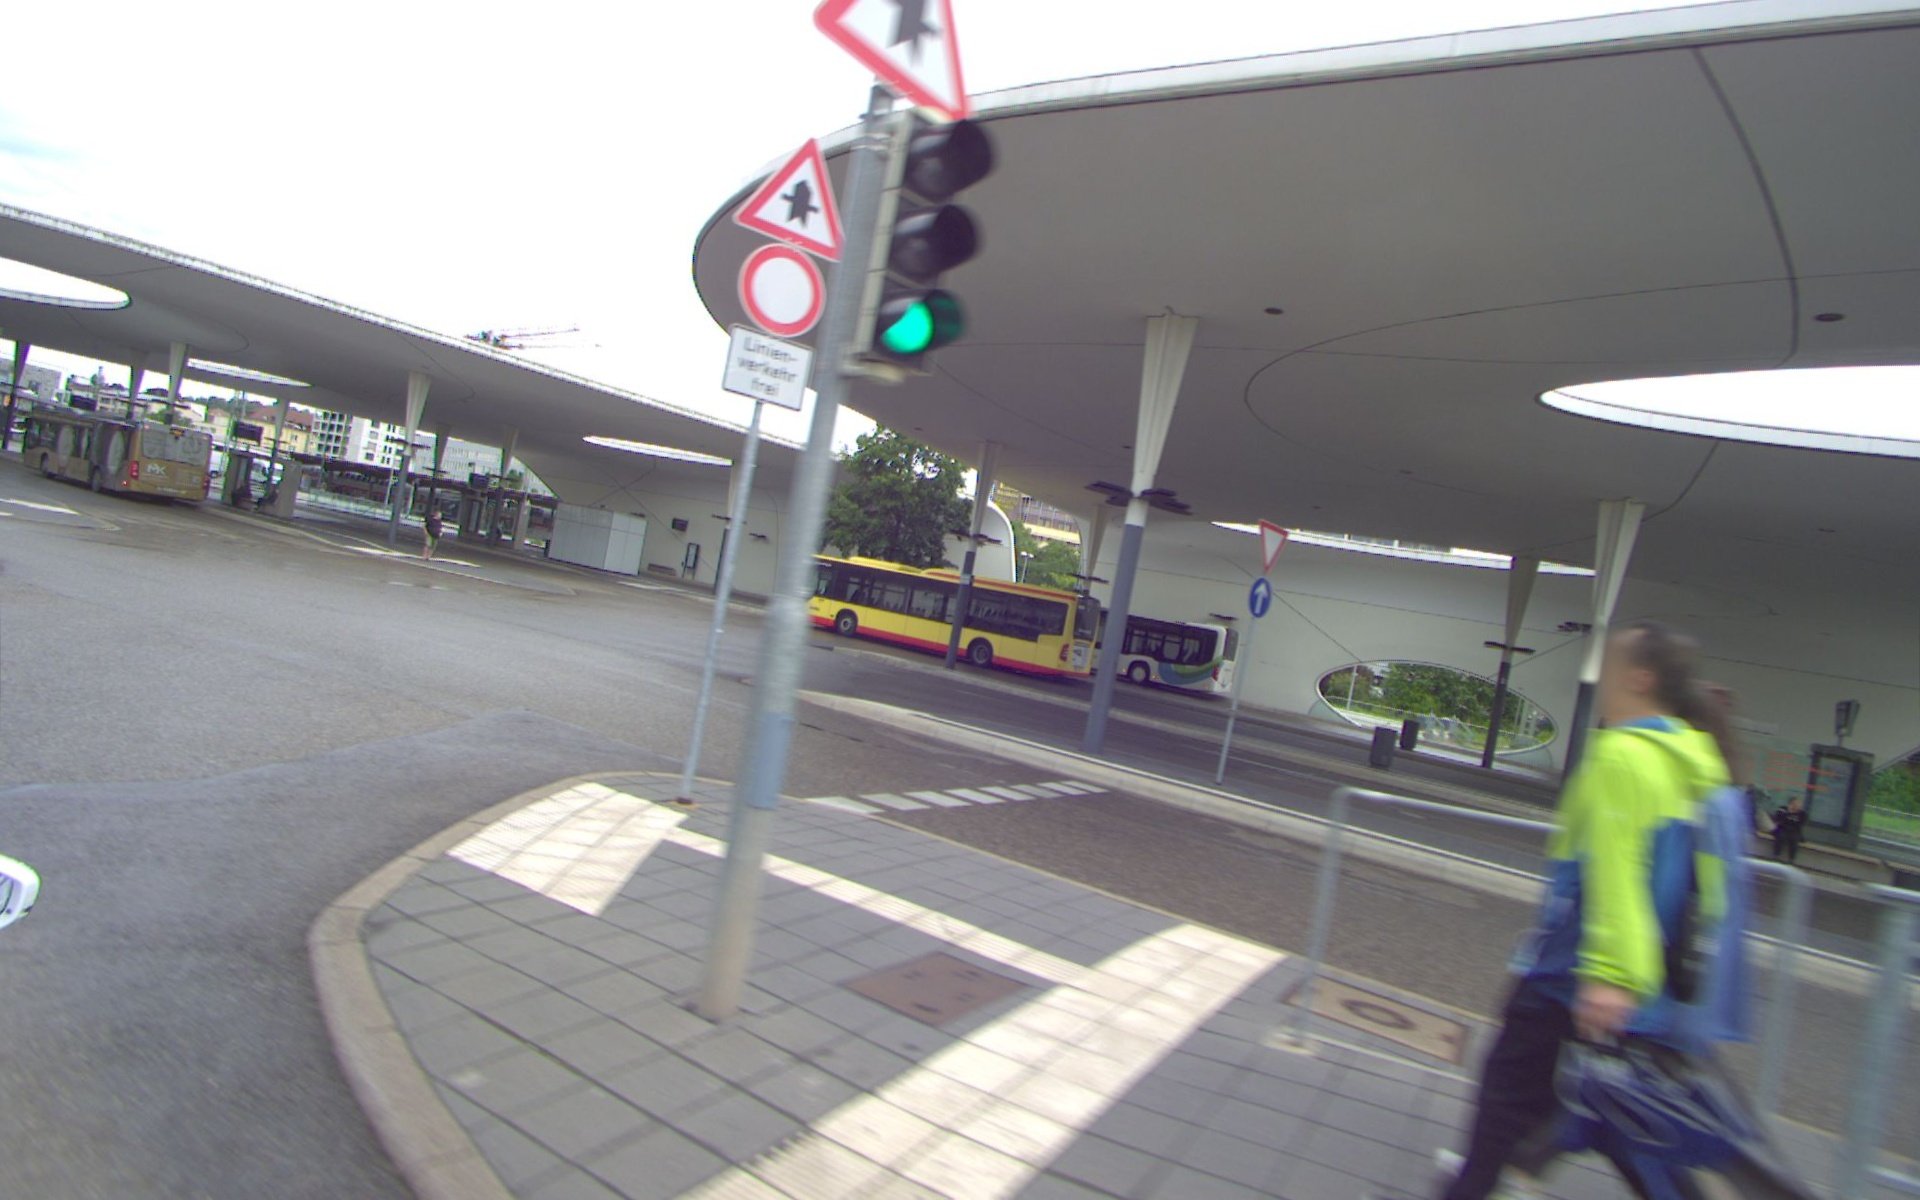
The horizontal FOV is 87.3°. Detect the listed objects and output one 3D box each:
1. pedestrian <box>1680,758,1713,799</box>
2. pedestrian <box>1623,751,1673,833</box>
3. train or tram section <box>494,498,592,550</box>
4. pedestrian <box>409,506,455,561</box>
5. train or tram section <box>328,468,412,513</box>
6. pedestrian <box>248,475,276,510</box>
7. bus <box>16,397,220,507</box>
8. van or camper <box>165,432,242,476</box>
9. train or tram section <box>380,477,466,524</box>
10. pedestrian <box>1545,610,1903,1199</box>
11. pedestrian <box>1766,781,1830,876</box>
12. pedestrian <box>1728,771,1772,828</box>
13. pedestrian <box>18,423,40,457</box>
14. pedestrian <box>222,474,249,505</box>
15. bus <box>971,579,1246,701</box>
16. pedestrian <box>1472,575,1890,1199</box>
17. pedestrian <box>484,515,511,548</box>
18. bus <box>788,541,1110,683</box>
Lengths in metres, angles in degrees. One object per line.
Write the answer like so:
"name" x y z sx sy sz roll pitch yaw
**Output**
"pedestrian" 26.484 6.420 36.178 0.789 1.338 0.711 6 -4 34
"pedestrian" 13.824 3.848 20.221 0.375 1.520 0.520 9 1 -9
"train or tram section" -45.007 -8.266 108.456 11.419 3.716 3.143 10 -2 31
"pedestrian" -18.215 -2.286 34.711 1.002 1.706 0.719 9 3 6
"train or tram section" -74.138 -13.790 126.279 12.115 3.697 3.143 11 -2 31
"pedestrian" -30.782 -4.744 44.353 0.790 1.395 0.626 8 2 -41
"bus" -35.161 -6.257 41.762 11.886 3.082 2.725 11 2 32
"van or camper" -66.022 -12.707 87.881 2.083 2.584 4.623 9 -3 30
"train or tram section" -64.230 -11.878 120.209 11.419 3.697 3.143 11 -2 31
"pedestrian" 1.988 0.924 2.701 0.571 1.688 0.591 6 -4 31
"pedestrian" 15.657 4.247 18.806 0.666 1.606 0.590 7 -4 27
"pedestrian" 20.948 5.298 26.695 0.790 1.338 0.710 6 -4 39
"pedestrian" -57.185 -9.817 61.792 0.585 1.896 0.710 10 1 -29
"pedestrian" -32.642 -4.990 45.320 0.790 1.241 0.626 8 2 -41
"bus" 6.353 1.651 44.857 11.769 3.298 2.469 11 2 32
"pedestrian" 1.583 0.839 2.319 0.571 1.689 0.523 7 -1 31
"pedestrian" -25.952 -3.851 56.458 0.892 1.604 0.797 10 -1 25
"bus" -0.696 0.324 37.504 11.933 3.296 2.794 10 1 30
